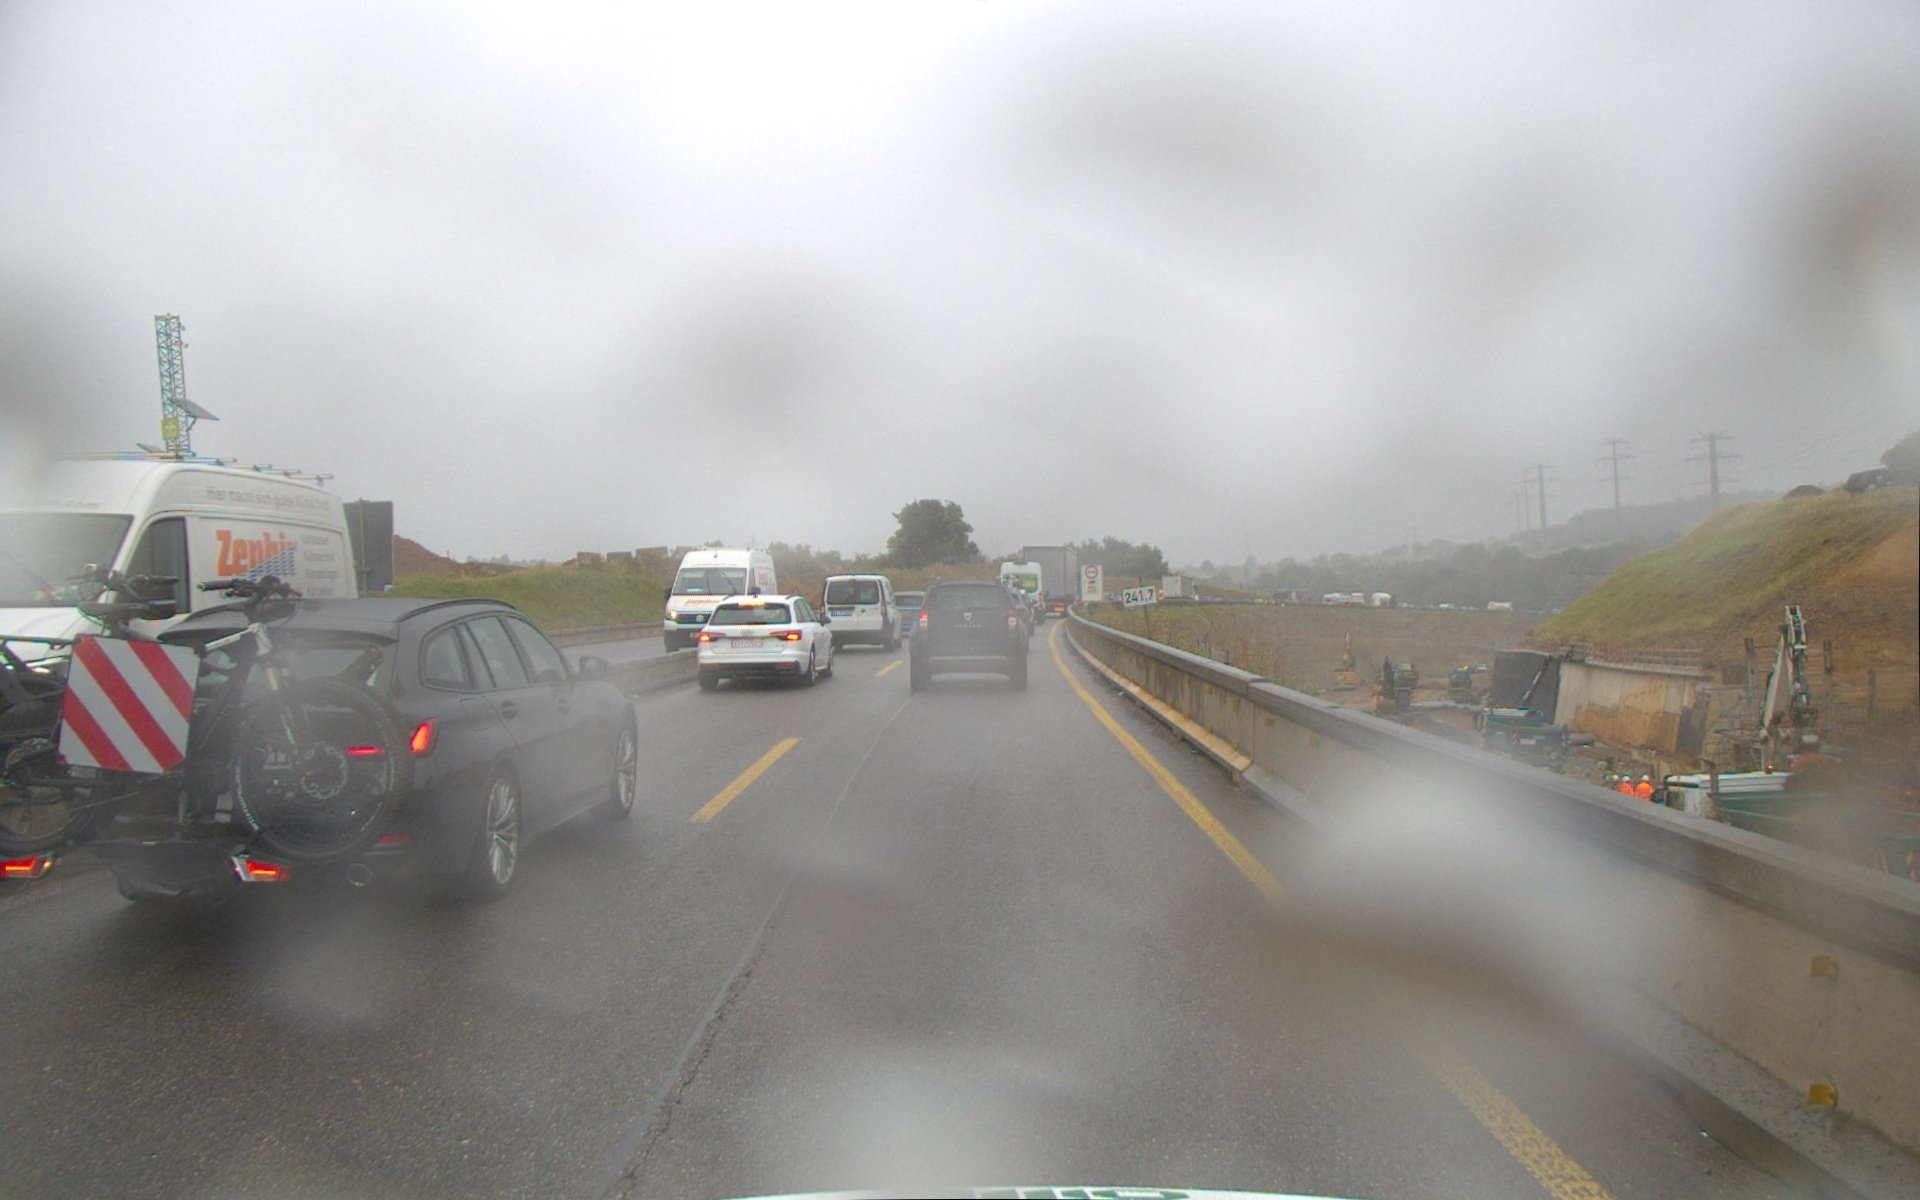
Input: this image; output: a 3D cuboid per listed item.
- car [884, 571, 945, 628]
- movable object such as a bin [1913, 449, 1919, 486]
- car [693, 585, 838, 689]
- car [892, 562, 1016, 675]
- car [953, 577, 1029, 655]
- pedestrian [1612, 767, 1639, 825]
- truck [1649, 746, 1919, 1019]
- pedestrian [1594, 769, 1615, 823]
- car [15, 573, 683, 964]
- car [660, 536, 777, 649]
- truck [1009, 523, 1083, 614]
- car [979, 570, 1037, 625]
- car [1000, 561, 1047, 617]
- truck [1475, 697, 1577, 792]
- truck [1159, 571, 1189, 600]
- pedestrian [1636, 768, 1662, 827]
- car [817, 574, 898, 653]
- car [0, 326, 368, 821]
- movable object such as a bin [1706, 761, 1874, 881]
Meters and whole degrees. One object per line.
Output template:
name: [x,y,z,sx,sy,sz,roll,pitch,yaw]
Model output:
car: [-1.500,-0.005,55.943,1.788,1.847,4.001,0,-1,3]
movable object such as a bin: [66.140,-8.999,111.202,2.377,2.486,3.973,0,2,11]
car: [-3.038,0.566,26.554,1.789,1.525,4.000,0,-1,1]
car: [-0.033,0.284,25.998,1.788,1.619,4.001,0,-1,1]
car: [0.792,0.399,41.200,1.788,1.847,4.001,0,-1,2]
pedestrian: [23.922,7.024,59.434,0.566,1.978,0.729,1,-1,-25]
truck: [16.067,4.830,30.470,2.645,3.565,8.942,0,-1,-3]
pedestrian: [23.456,7.125,60.207,0.561,1.902,0.736,0,-1,9]
car: [-2.922,0.633,9.462,1.699,1.488,5.630,0,2,0]
car: [-5.946,-0.201,41.421,1.982,2.593,5.958,-1,1,0]
truck: [5.245,-1.741,98.808,3.468,5.166,10.449,0,-1,8]
car: [1.697,-0.080,57.795,1.788,1.847,4.002,0,-1,5]
car: [2.927,-0.472,75.508,1.787,2.480,4.161,0,-1,7]
truck: [25.687,6.463,75.494,2.671,3.552,9.071,0,-1,7]
truck: [28.549,-1.938,220.547,3.398,3.780,8.425,-1,0,11]
pedestrian: [24.511,7.024,58.850,0.722,1.978,0.572,0,-1,41]
car: [-2.497,0.337,41.107,1.789,1.847,3.999,0,-1,-1]
car: [-6.699,-0.193,13.109,1.953,3.066,5.779,0,0,0]
movable object such as a bin: [21.949,5.807,43.897,3.084,2.786,2.969,0,-1,3]
